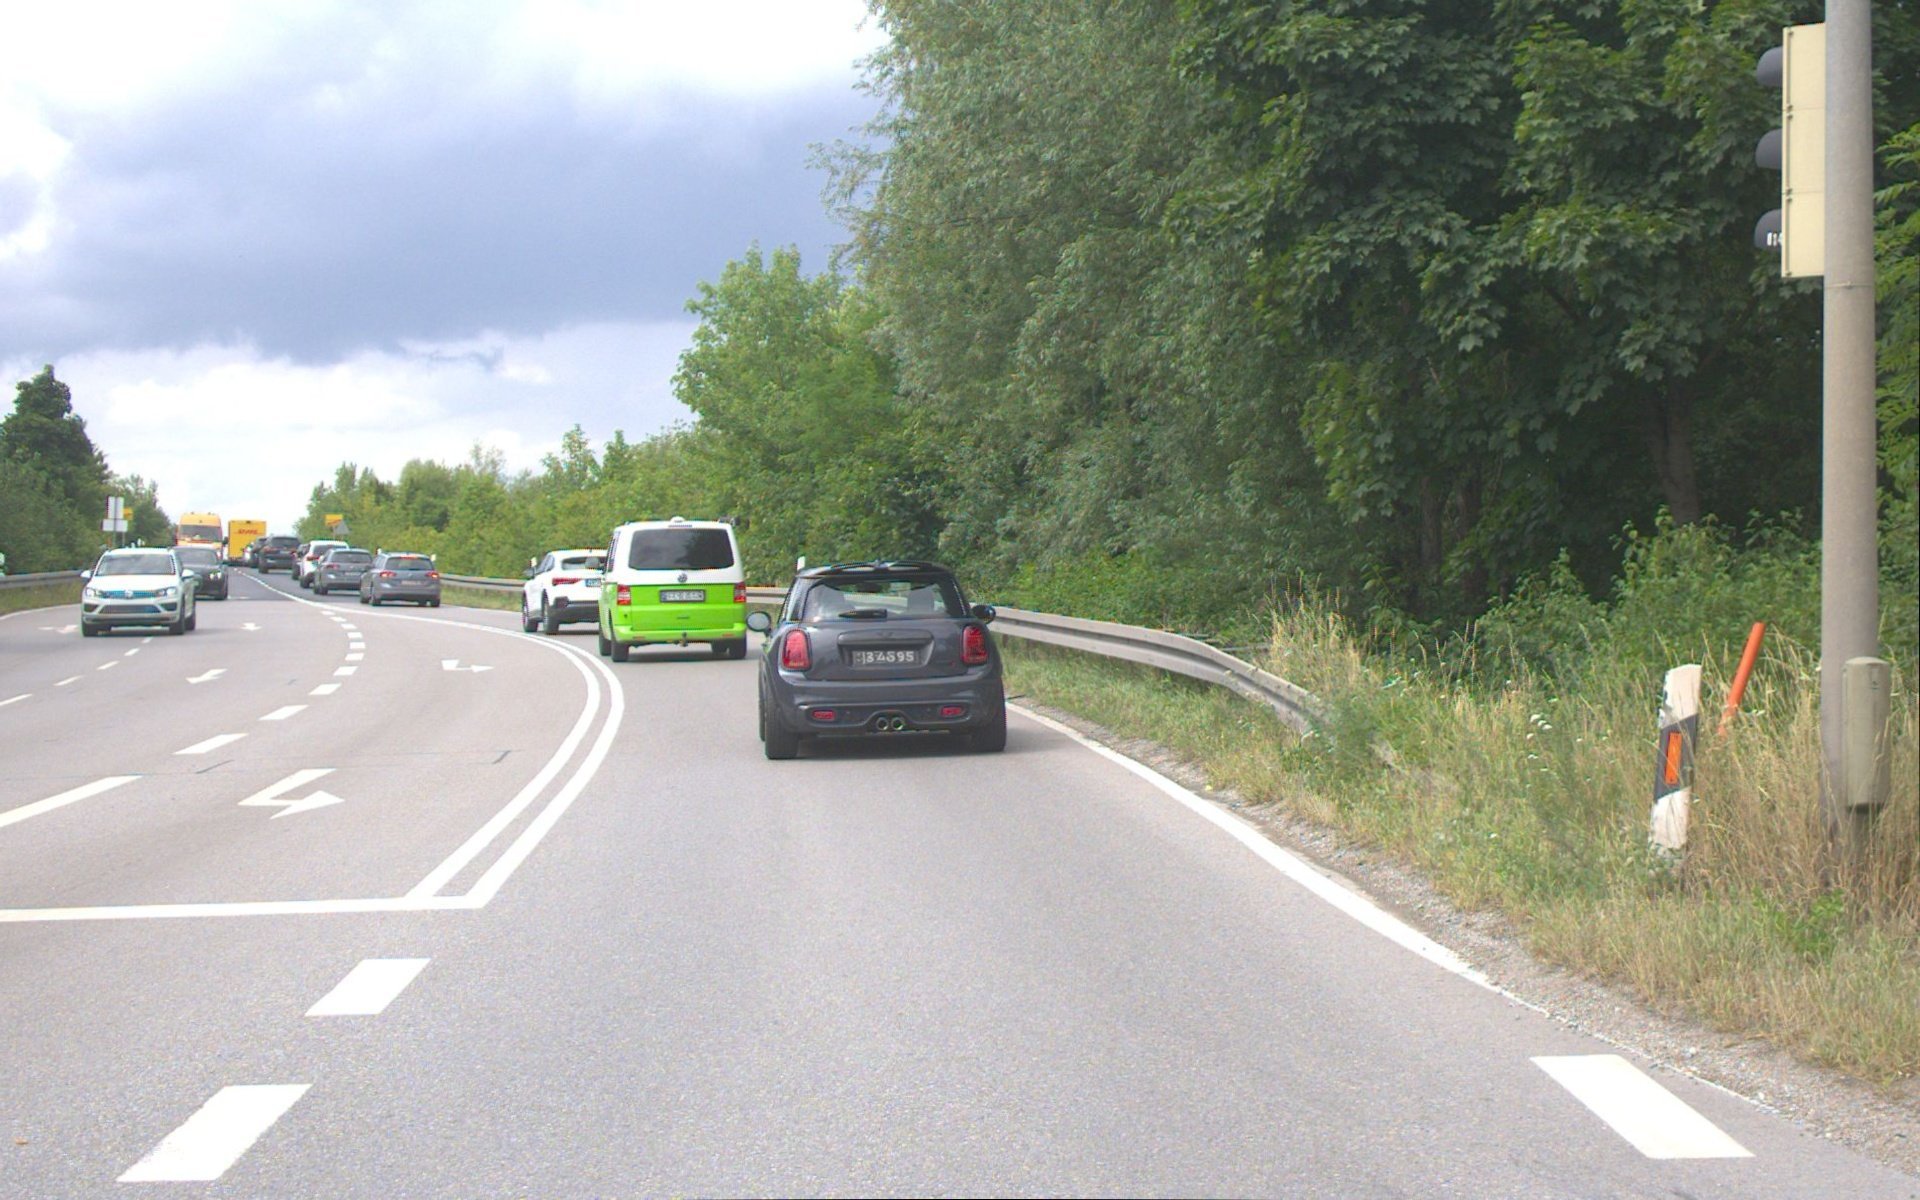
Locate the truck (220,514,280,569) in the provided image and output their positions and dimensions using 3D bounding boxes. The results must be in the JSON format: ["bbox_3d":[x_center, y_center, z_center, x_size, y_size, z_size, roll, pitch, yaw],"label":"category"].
[{"bbox_3d":[-43.784,-3.564,212.287,2.716,2.888,8.771,2,-2,-6],"label":"truck"}]

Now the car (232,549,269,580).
[{"bbox_3d":[-40.887,-2.016,198.031,1.993,1.781,4.487,0,0,-13],"label":"car"}]

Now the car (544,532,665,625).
[{"bbox_3d":[-6.662,-0.403,64.121,1.993,1.678,4.001,0,0,-9],"label":"car"}]

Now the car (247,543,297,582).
[{"bbox_3d":[-31.912,-1.717,159.435,1.993,1.690,4.487,1,0,-15],"label":"car"}]

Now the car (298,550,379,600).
[{"bbox_3d":[-19.439,-0.761,107.420,1.993,1.471,4.487,1,0,-16],"label":"car"}]

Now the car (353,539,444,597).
[{"bbox_3d":[-15.212,-0.851,93.032,1.993,1.471,4.487,1,0,-14],"label":"car"}]

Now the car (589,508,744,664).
[{"bbox_3d":[-4.203,-0.240,48.764,1.844,1.980,3.843,0,4,-10],"label":"car"}]

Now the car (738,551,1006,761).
[{"bbox_3d":[-0.602,0.367,26.014,1.845,1.423,3.841,-1,1,0],"label":"car"}]

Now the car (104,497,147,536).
[{"bbox_3d":[-43.991,-4.369,181.318,1.993,2.007,4.001,0,1,-11],"label":"car"}]

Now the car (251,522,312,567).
[{"bbox_3d":[-27.324,-2.213,138.293,1.993,1.690,4.487,1,0,-16],"label":"car"}]

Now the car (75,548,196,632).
[{"bbox_3d":[-16.263,-0.225,67.951,1.993,1.607,4.001,0,1,-9],"label":"car"}]

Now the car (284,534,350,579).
[{"bbox_3d":[-22.713,-1.524,121.326,1.993,1.471,4.487,1,0,-14],"label":"car"}]

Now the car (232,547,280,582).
[{"bbox_3d":[-36.724,-1.843,179.247,1.993,1.690,4.487,1,0,-17],"label":"car"}]

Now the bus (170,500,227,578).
[{"bbox_3d":[-32.928,-2.626,148.452,1.993,3.291,7.431,0,1,-16],"label":"bus"}]
